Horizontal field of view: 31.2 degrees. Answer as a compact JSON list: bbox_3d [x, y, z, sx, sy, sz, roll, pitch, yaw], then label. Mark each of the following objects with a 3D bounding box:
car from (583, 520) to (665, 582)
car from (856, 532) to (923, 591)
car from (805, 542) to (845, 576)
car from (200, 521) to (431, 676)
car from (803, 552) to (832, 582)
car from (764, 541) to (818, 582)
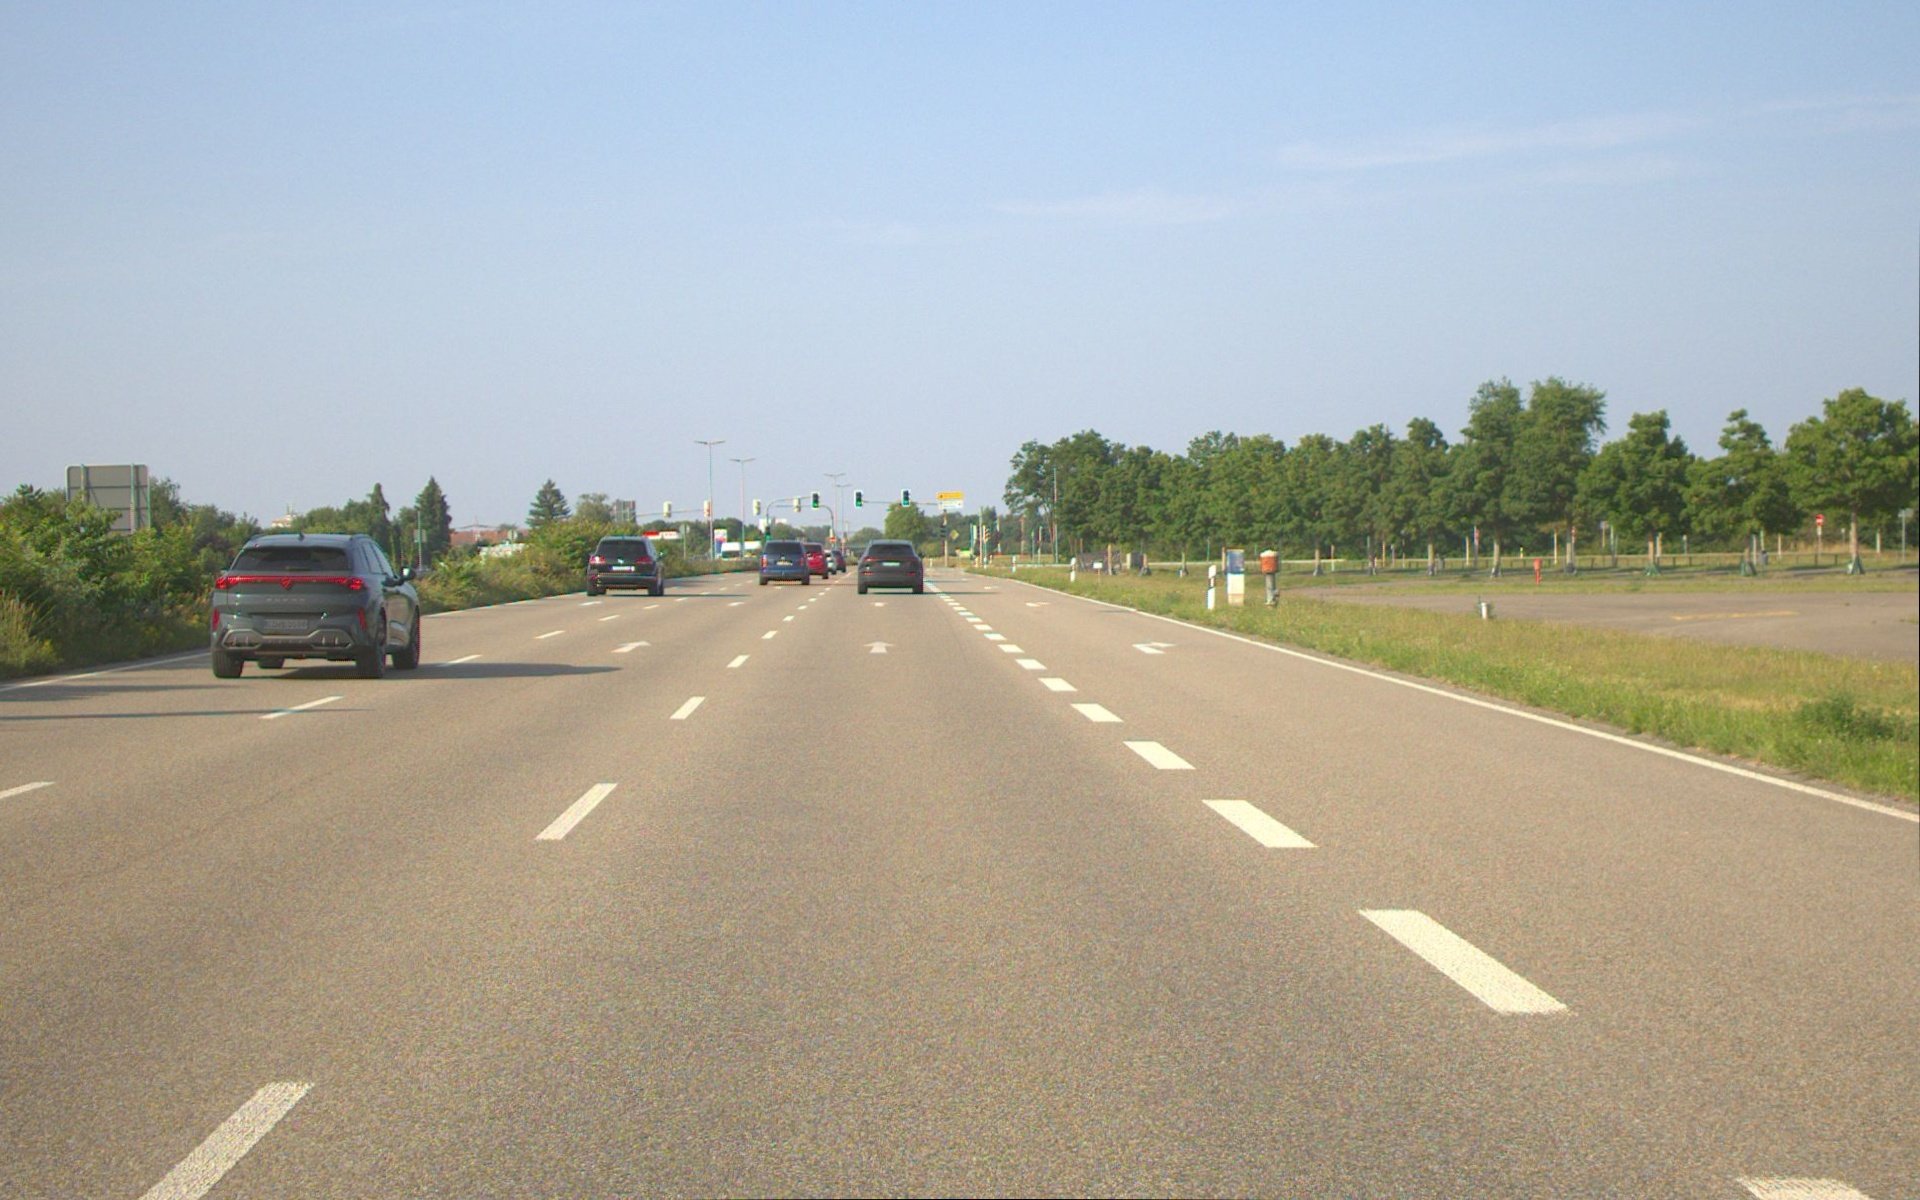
[{"bbox_3d":[-9.465,-1.394,97.174,1.932,1.674,4.401,1,1,-1],"label":"car"},{"bbox_3d":[-2.128,-1.173,103.838,1.932,1.674,4.401,1,1,-1],"label":"car"},{"bbox_3d":[-5.929,-1.808,151.041,1.647,1.458,3.981,1,1,-1],"label":"car"},{"bbox_3d":[-7.222,-0.054,38.911,1.845,1.606,4.401,1,1,-1],"label":"car"},{"bbox_3d":[-8.240,-1.914,199.422,1.645,1.722,3.401,0,0,-2],"label":"car"},{"bbox_3d":[-6.167,-1.423,125.936,1.812,1.458,4.401,1,1,-1],"label":"car"}]
